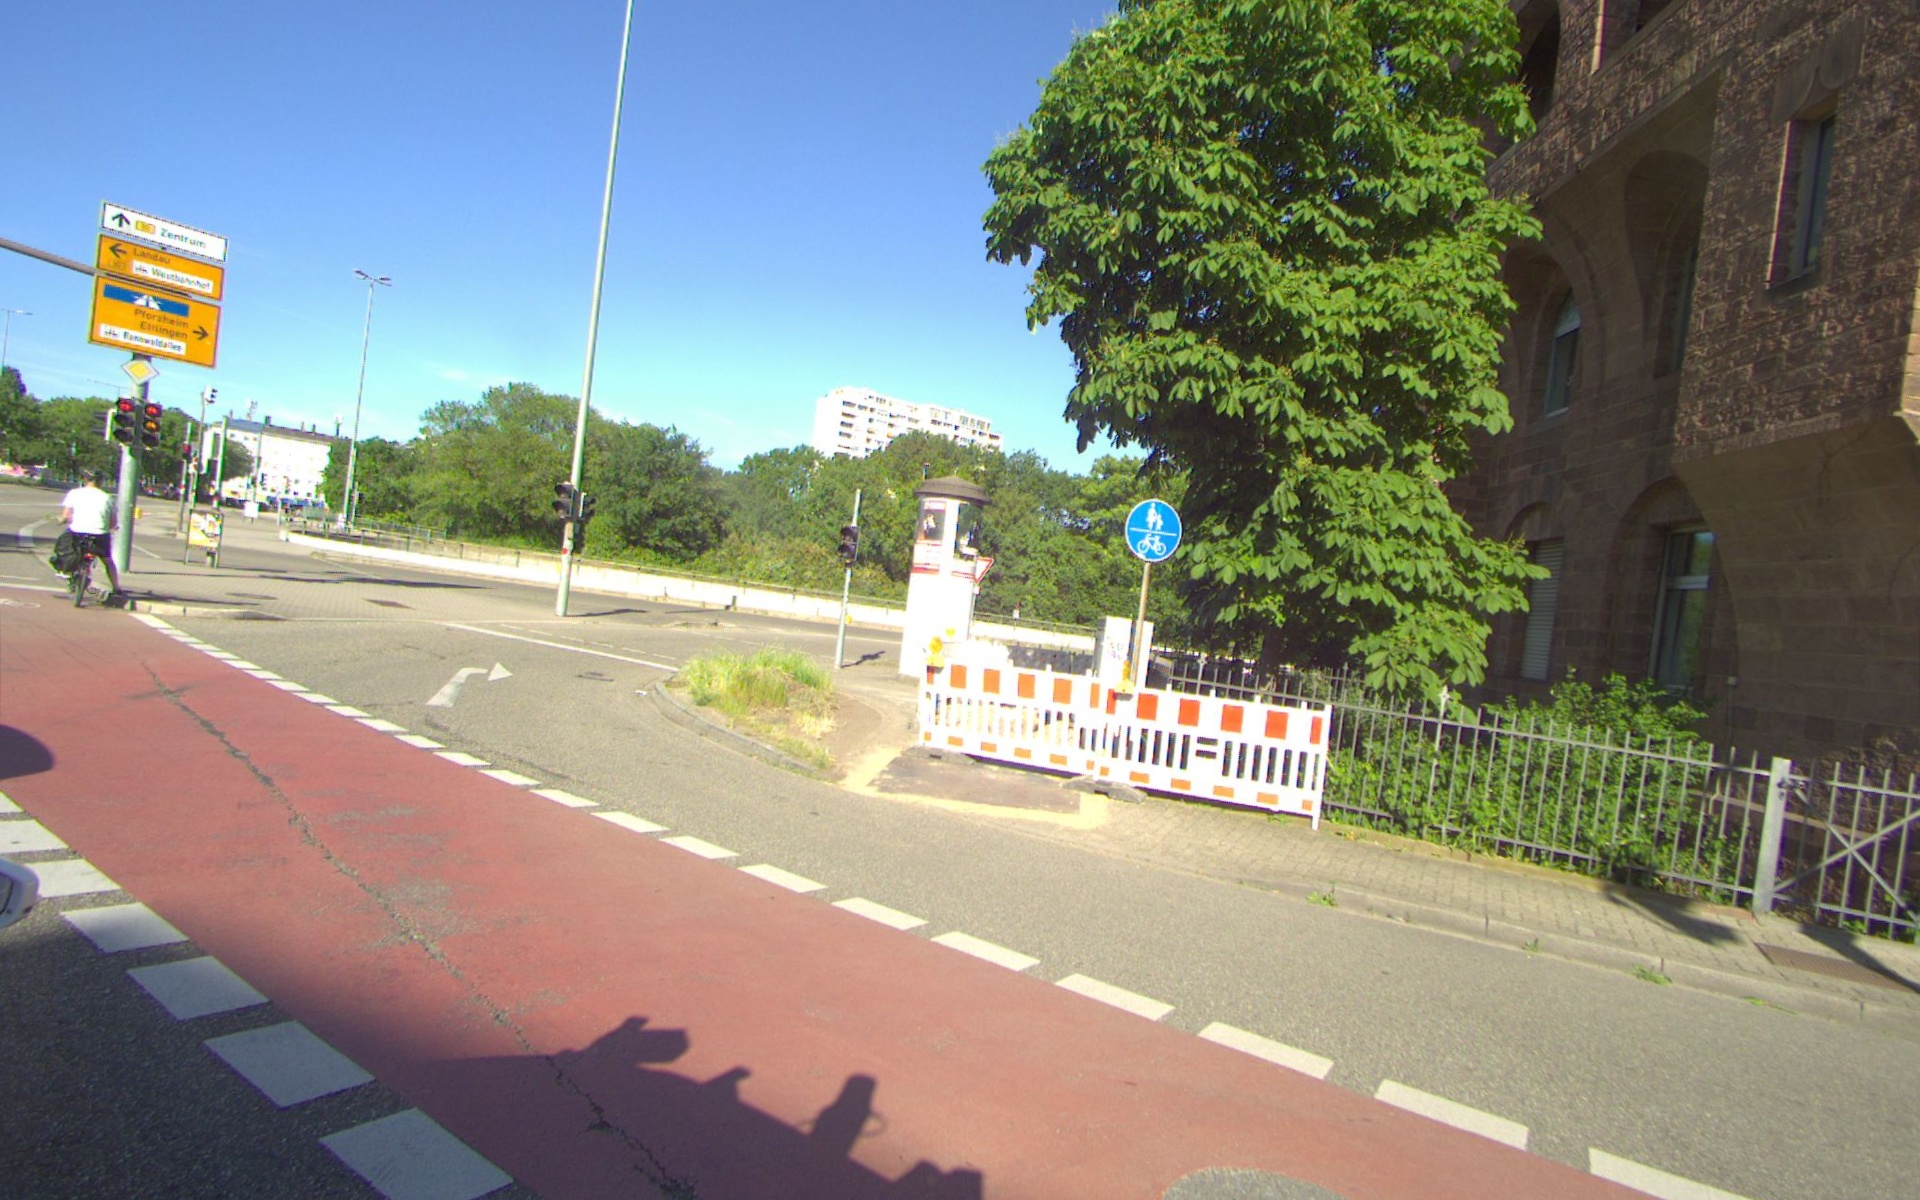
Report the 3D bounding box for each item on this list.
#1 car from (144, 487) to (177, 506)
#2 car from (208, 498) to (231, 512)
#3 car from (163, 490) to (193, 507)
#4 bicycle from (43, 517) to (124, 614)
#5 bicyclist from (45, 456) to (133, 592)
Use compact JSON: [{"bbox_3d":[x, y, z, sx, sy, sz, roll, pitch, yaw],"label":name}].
[{"bbox_3d":[-82.746,-10.656,104.174,1.931,1.547,4.064,7,0,-30],"label":"car"},{"bbox_3d":[-102.359,-13.106,139.054,1.930,1.547,4.065,7,0,-29],"label":"car"},{"bbox_3d":[-85.780,-11.121,110.374,1.930,1.547,4.065,7,0,-29],"label":"car"},{"bbox_3d":[-11.973,-0.495,13.724,0.689,1.115,1.804,8,0,-43],"label":"bicycle"},{"bbox_3d":[-11.834,-1.039,13.658,0.722,1.680,1.099,8,1,-43],"label":"bicyclist"}]
